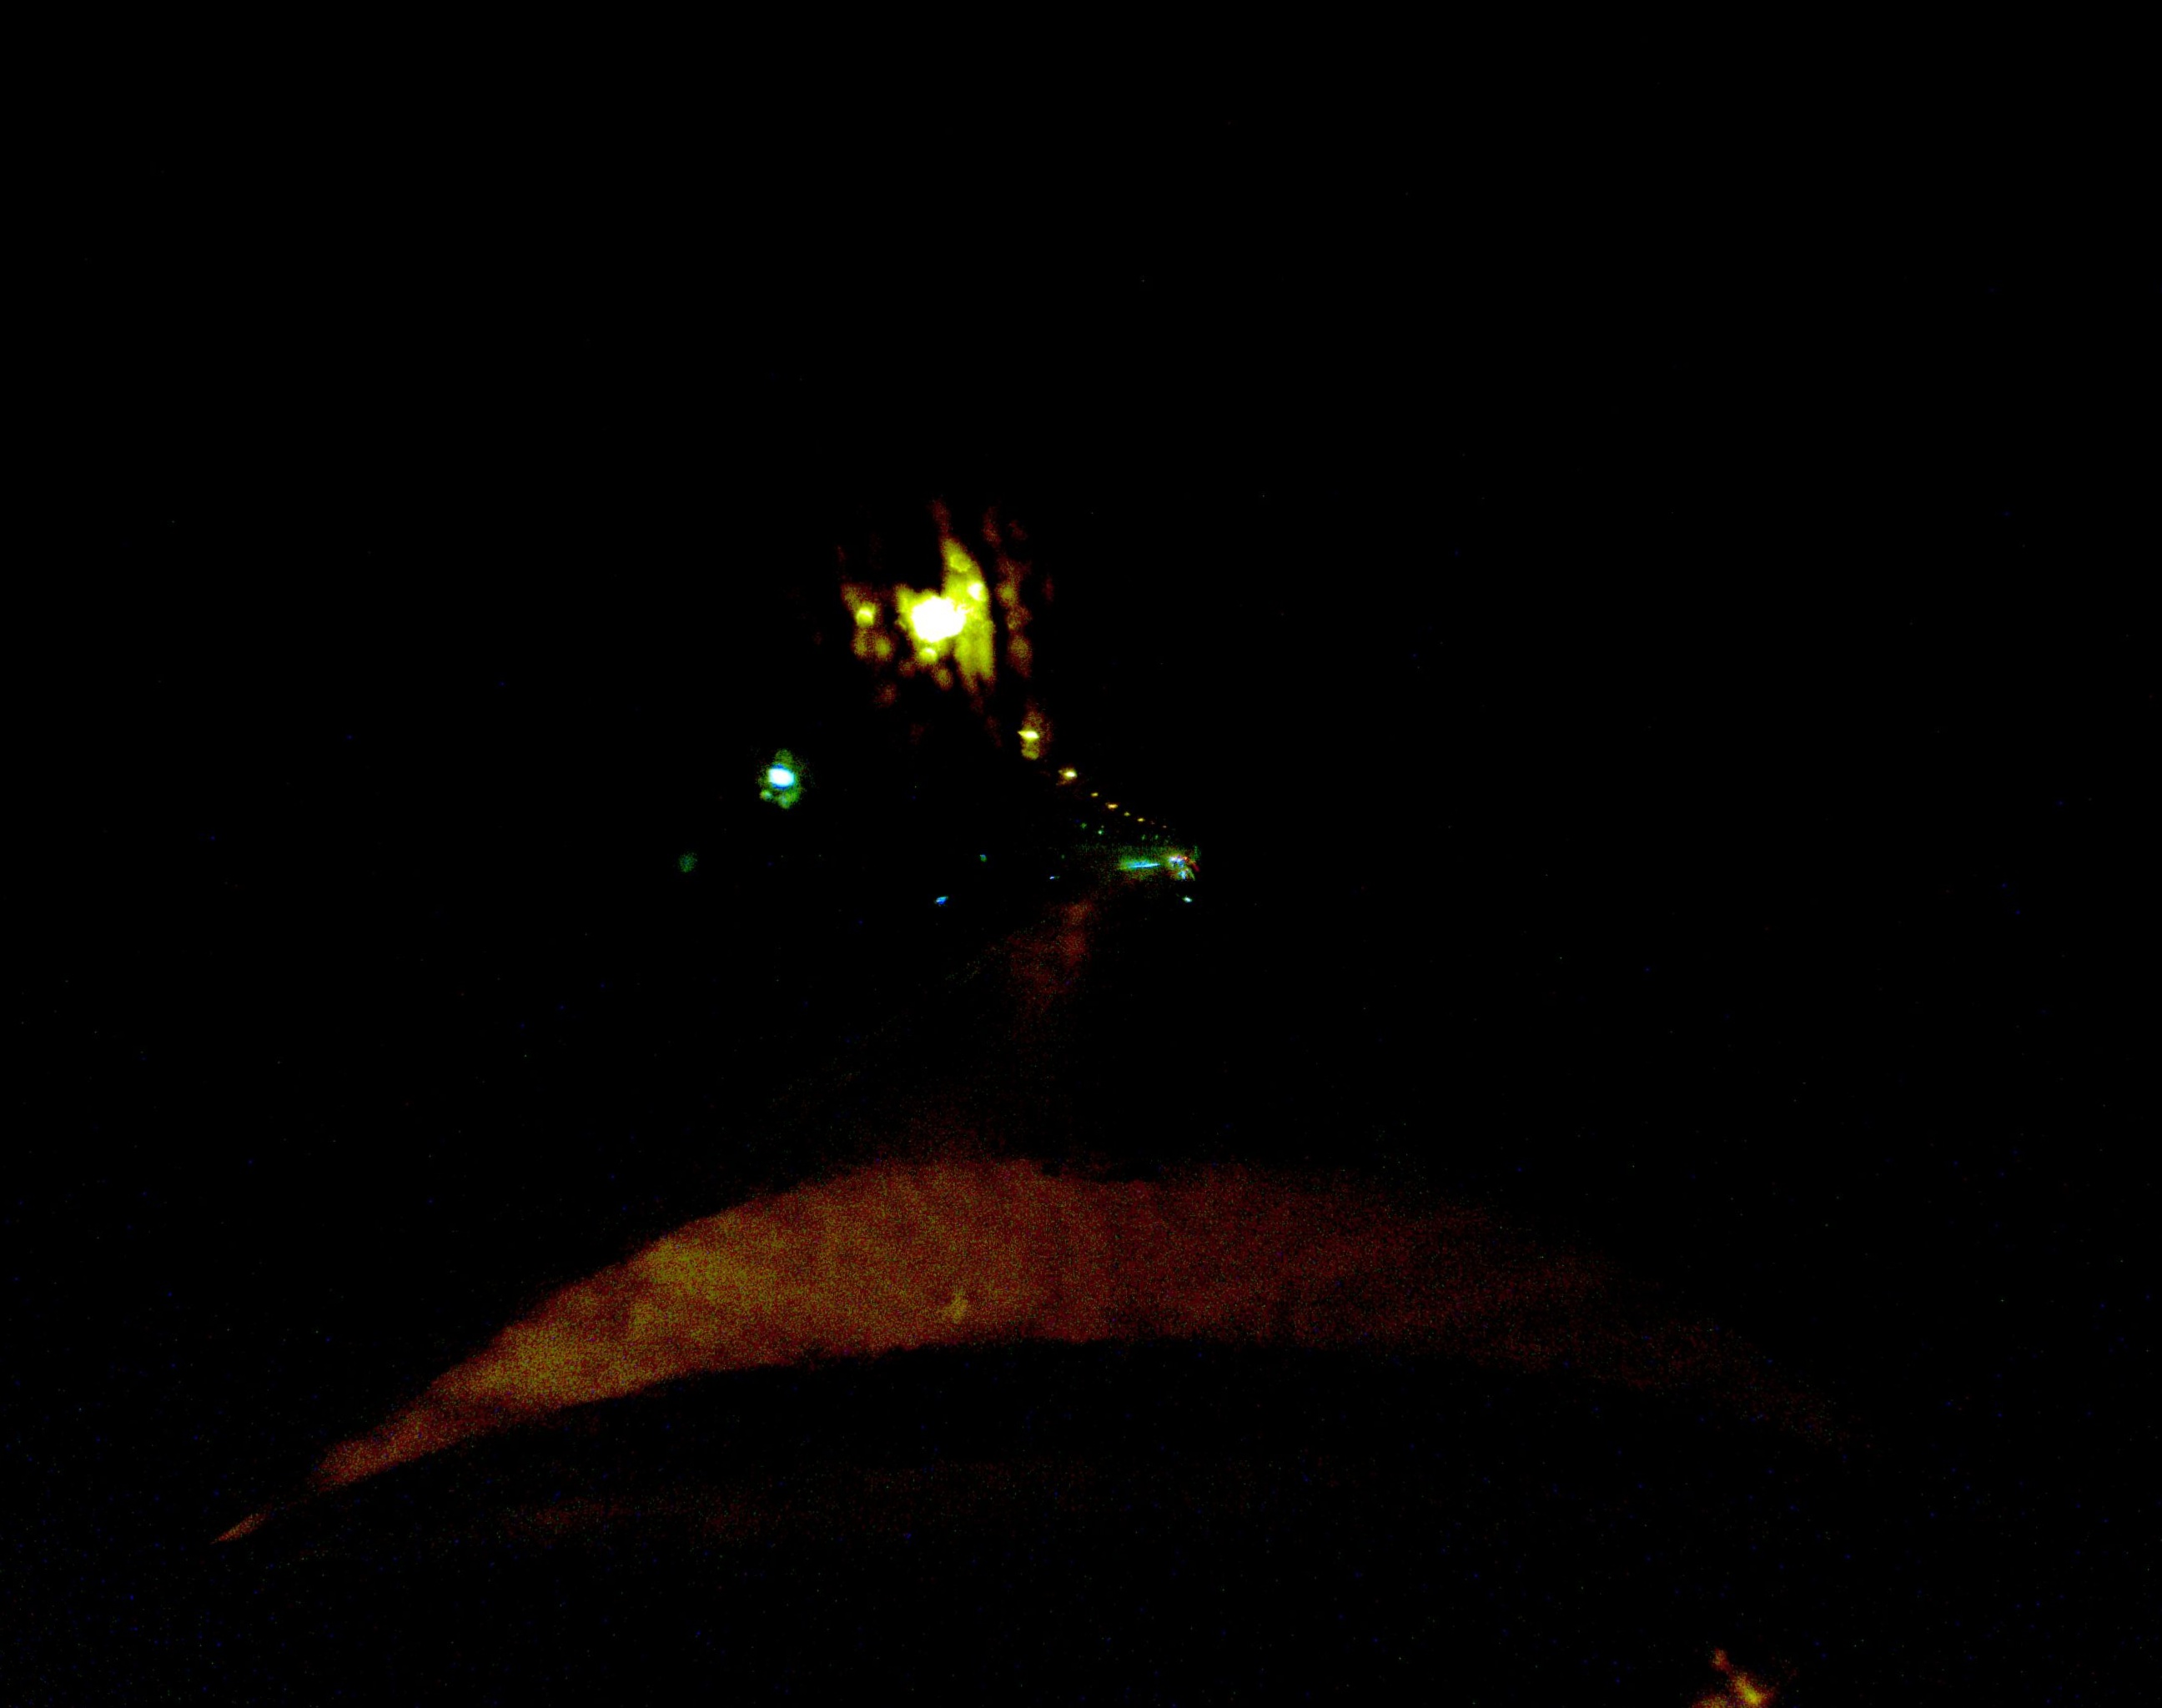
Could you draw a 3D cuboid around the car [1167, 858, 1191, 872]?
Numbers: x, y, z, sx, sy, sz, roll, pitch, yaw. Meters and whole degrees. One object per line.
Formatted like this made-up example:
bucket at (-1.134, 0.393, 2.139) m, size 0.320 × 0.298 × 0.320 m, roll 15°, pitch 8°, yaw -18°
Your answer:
car at (11.719, 1.282, 97.052) m, size 1.977 × 1.650 × 4.019 m, roll -1°, pitch 0°, yaw 19°
